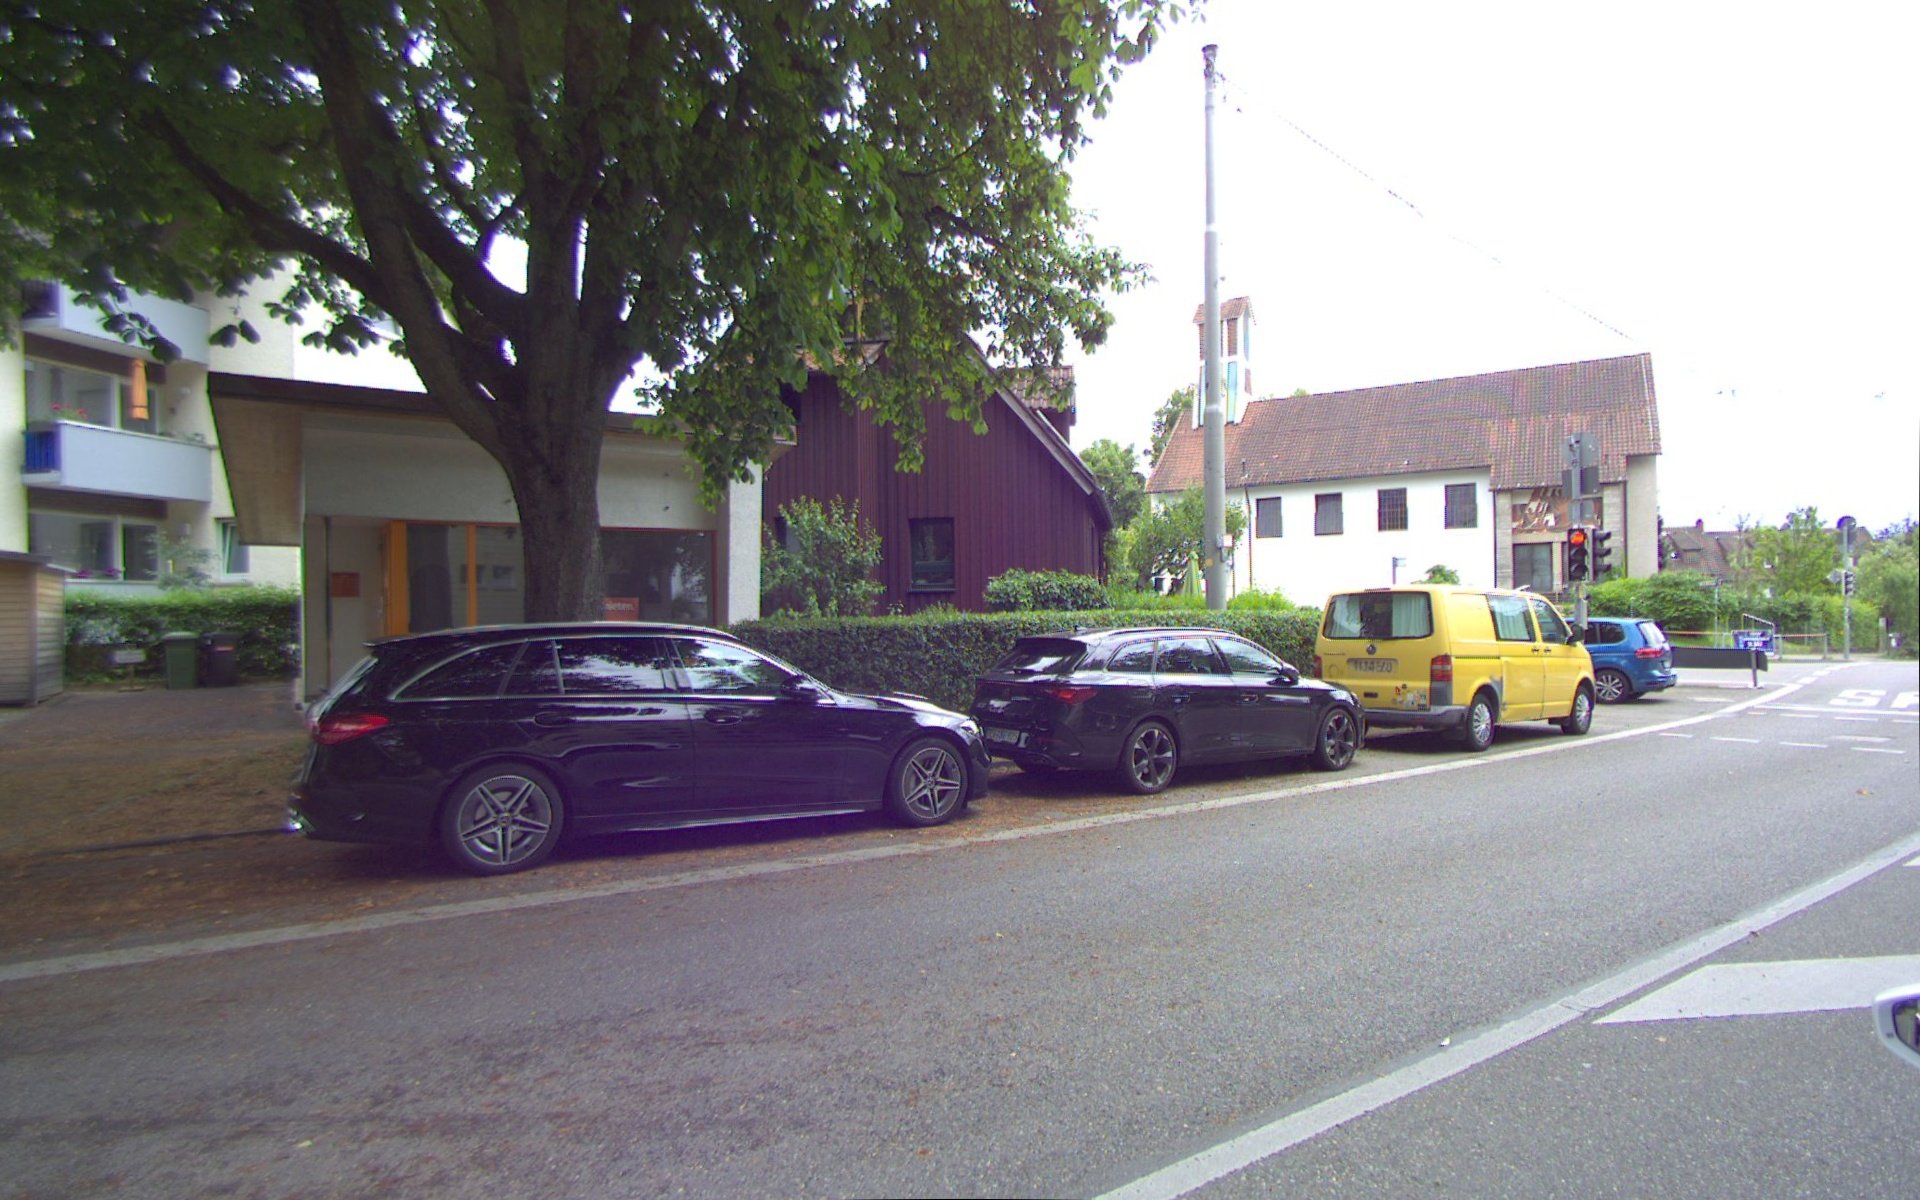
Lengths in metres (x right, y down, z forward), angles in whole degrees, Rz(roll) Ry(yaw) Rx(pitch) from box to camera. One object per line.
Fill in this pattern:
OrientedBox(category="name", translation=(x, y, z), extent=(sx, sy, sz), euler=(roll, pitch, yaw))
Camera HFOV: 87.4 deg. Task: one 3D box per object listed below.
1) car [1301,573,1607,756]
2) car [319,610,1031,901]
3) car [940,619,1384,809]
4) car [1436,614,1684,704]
OrientedBox(category="car", translation=(6.677, 0.780, 13.370), extent=(4.525, 2.040, 1.869), euler=(1, -2, -38))
OrientedBox(category="car", translation=(-1.911, 0.869, 7.310), extent=(4.562, 1.520, 1.983), euler=(1, -2, -31))
OrientedBox(category="car", translation=(2.124, 0.962, 9.969), extent=(4.496, 1.505, 1.680), euler=(1, -2, -34))
OrientedBox(category="car", translation=(11.931, 1.152, 20.131), extent=(3.947, 1.632, 1.807), euler=(-3, -3, 45))
